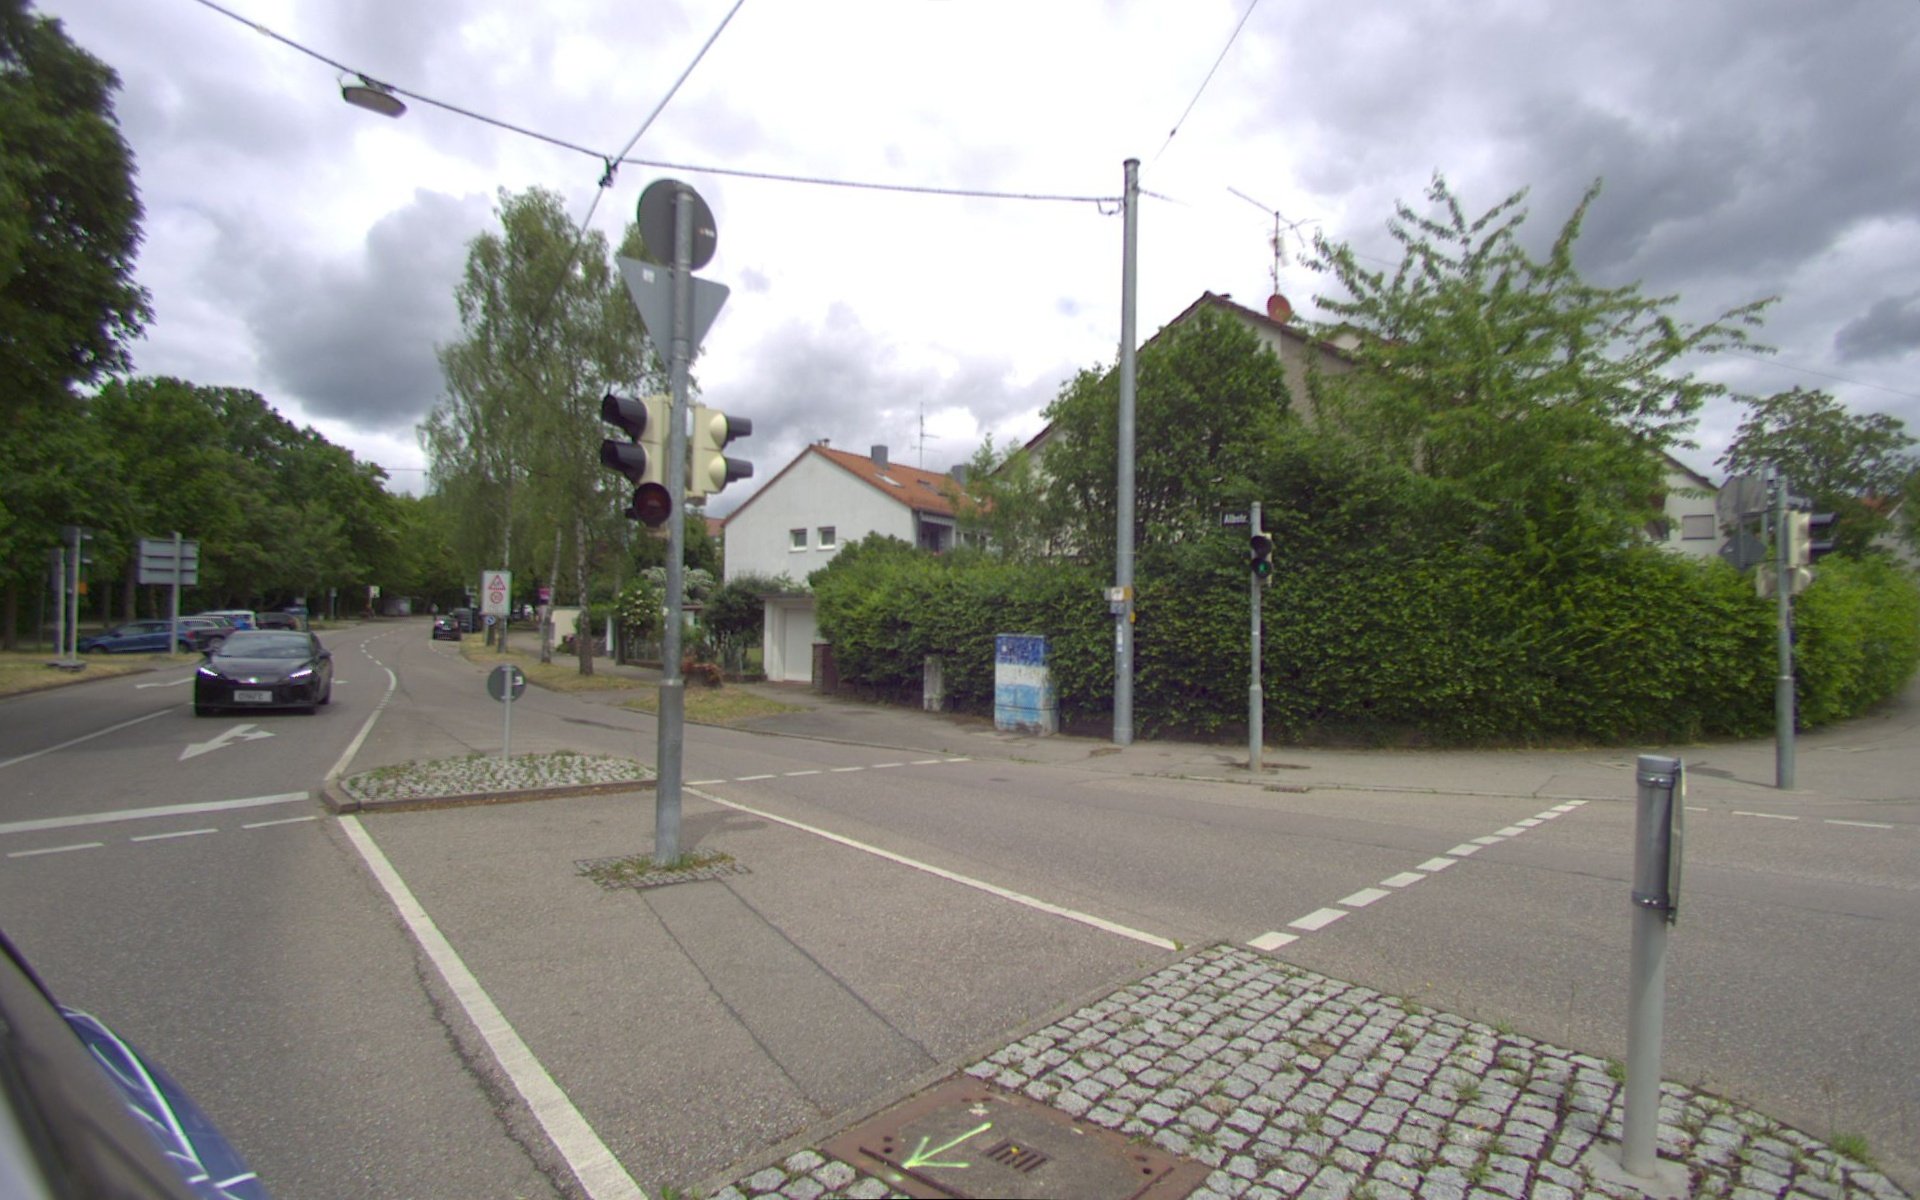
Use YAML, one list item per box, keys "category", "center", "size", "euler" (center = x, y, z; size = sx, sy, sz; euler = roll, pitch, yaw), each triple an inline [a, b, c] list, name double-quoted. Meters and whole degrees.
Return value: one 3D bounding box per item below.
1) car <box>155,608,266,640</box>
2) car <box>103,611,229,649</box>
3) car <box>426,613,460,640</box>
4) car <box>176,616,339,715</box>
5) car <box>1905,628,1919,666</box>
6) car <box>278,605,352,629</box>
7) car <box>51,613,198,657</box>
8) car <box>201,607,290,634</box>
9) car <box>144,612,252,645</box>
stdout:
- category: "car"
  center: [-40.031, 1.292, 54.150]
  size: [1.998, 1.621, 4.361]
  euler: [-1, -2, 39]
- category: "car"
  center: [-33.511, 1.291, 42.784]
  size: [1.919, 1.497, 3.942]
  euler: [0, -3, 44]
- category: "car"
  center: [-36.738, 1.874, 71.983]
  size: [1.942, 1.621, 4.434]
  euler: [4, -1, -25]
- category: "car"
  center: [-12.920, 1.140, 18.881]
  size: [1.965, 1.630, 4.013]
  euler: [2, -2, -28]
- category: "car"
  center: [46.230, 2.205, 47.556]
  size: [1.850, 1.727, 4.523]
  euler: [-2, -2, 33]
- category: "car"
  center: [-46.680, 1.255, 73.272]
  size: [4.347, 1.621, 2.004]
  euler: [3, -2, -37]
- category: "car"
  center: [-31.292, 1.340, 37.970]
  size: [1.918, 1.497, 3.945]
  euler: [1, -2, 41]
- category: "car"
  center: [-45.109, 1.310, 63.939]
  size: [4.351, 1.621, 2.002]
  euler: [3, -3, -43]
- category: "car"
  center: [-37.466, 1.409, 49.789]
  size: [1.919, 1.497, 3.942]
  euler: [0, -3, 44]
